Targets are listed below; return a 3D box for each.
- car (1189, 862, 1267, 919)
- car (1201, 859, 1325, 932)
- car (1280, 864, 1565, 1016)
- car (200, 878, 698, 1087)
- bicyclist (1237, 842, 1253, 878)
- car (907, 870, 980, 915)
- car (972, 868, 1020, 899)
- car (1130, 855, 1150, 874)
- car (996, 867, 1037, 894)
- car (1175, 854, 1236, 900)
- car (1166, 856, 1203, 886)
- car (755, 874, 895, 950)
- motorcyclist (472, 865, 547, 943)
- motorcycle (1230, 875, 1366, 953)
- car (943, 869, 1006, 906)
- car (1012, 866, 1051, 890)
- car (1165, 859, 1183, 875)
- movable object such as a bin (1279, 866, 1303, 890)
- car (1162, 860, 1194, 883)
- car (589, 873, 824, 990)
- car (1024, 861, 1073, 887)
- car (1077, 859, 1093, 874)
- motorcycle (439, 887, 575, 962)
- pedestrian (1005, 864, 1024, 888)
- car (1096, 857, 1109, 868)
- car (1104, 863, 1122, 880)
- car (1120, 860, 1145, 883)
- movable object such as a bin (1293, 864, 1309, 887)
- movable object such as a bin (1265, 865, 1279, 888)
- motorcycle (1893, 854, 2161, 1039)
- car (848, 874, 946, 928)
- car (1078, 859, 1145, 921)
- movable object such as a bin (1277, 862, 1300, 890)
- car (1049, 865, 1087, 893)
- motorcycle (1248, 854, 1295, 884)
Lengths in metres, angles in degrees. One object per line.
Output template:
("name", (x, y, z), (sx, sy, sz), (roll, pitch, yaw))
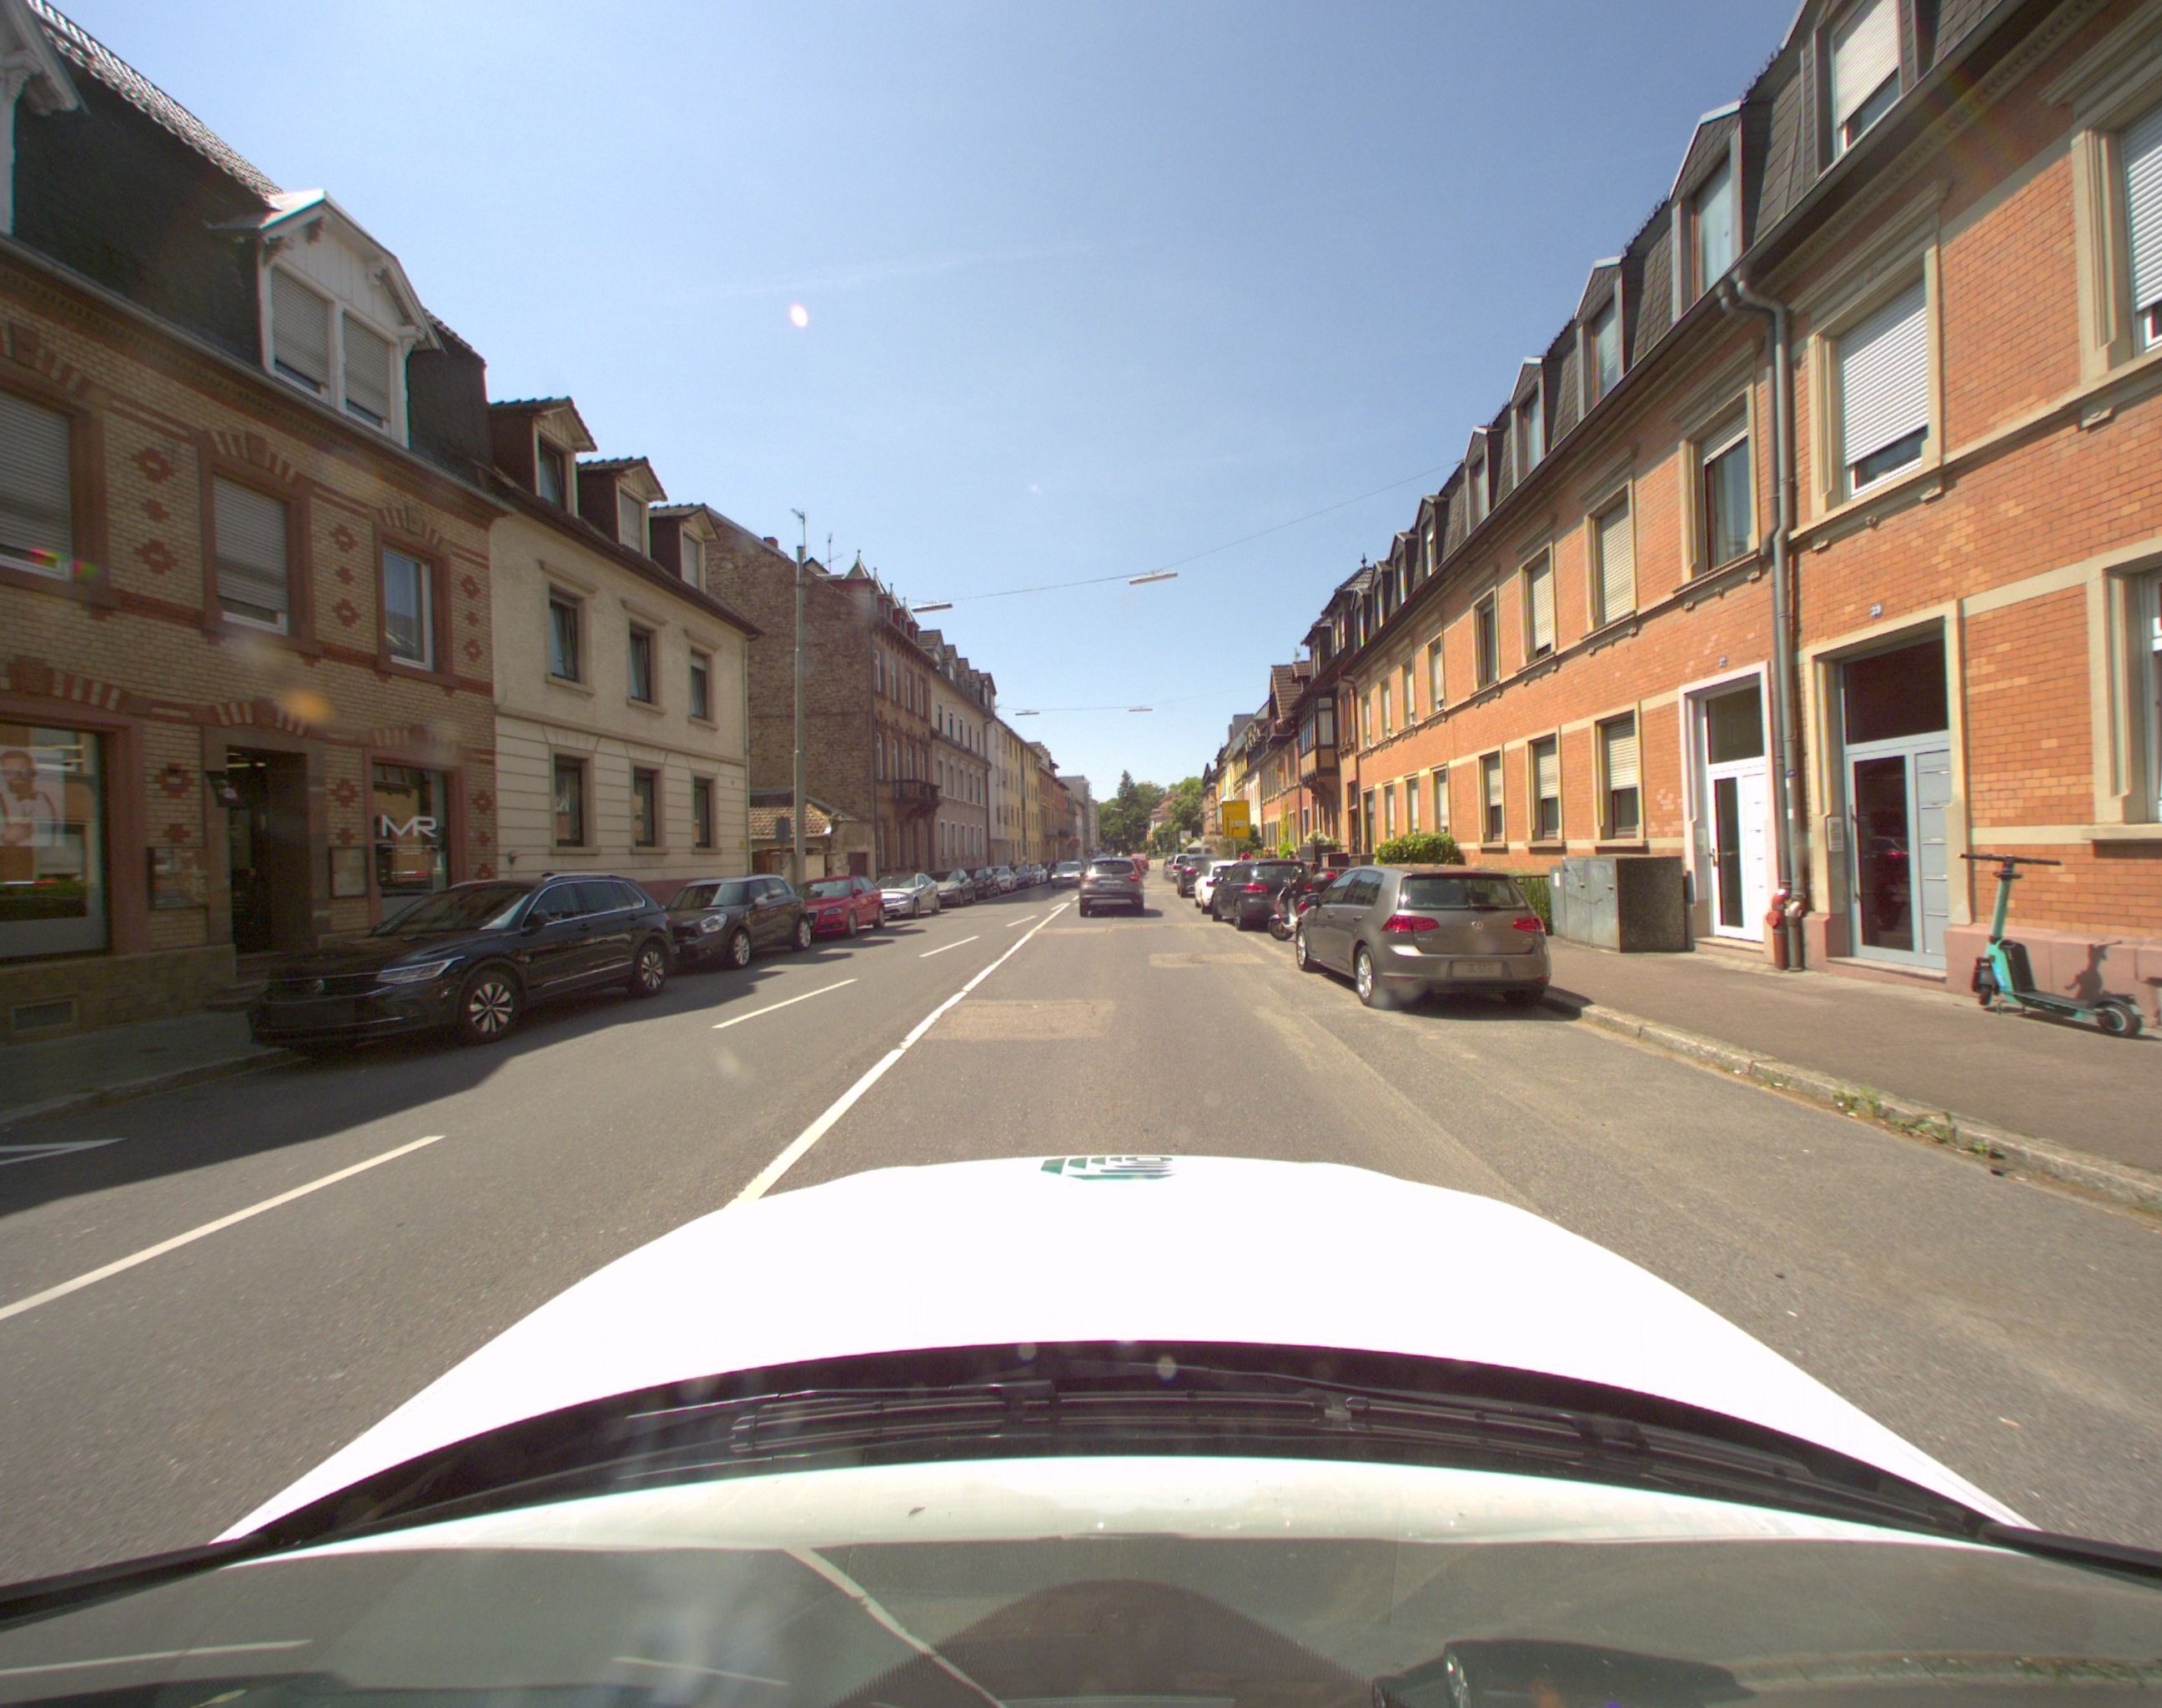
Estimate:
("car", (4.124, 0.977, 23.520), (1.708, 1.414, 4.594), (-2, -1, 4))
("car", (3.962, 0.860, 18.471), (1.644, 1.414, 4.498), (-1, -1, -2))
("car", (3.671, 0.828, 9.633), (1.694, 1.381, 4.167), (-1, -1, 1))
("car", (-6.418, 1.151, 9.139), (1.832, 1.597, 4.506), (-4, -1, 3))
("bicyclist", (6.845, 0.239, 33.959), (0.530, 1.469, 0.792), (-2, -1, 5))
("car", (-5.311, 1.456, 32.075), (1.833, 1.422, 4.504), (-6, -1, 2))
("car", (-4.439, 1.528, 43.179), (1.833, 1.422, 4.504), (-4, -1, 2))
("car", (6.579, 1.158, 90.145), (1.983, 2.013, 4.473), (-2, -1, 6))
("car", (-3.838, 1.540, 49.095), (1.833, 1.422, 4.648), (-4, -1, 2))
("car", (4.922, 0.874, 32.733), (1.985, 1.662, 4.630), (-2, -1, 4))
("car", (6.331, 1.001, 50.218), (1.853, 1.748, 4.619), (0, 0, 1))
("car", (-5.989, 1.301, 19.690), (1.834, 1.422, 4.502), (-4, -1, 0))
("motorcyclist", (-9.607, 0.829, 13.714), (0.715, 1.248, 0.712), (-2, -1, 2))
("motorcycle", (3.736, 0.995, 14.109), (1.971, 1.225, 1.119), (-2, -2, 42))
("car", (-4.879, 1.519, 37.934), (1.831, 1.422, 4.508), (-5, -1, 5))
("car", (-3.273, 1.596, 54.860), (1.831, 1.422, 4.564), (-5, -1, 5))
("car", (9.687, 1.339, 84.888), (1.851, 1.553, 4.006), (0, 0, 6))
("movable object such as a bin", (8.430, 0.966, 32.671), (0.785, 0.907, 0.539), (-2, -1, 1))
("car", (6.542, 1.184, 55.430), (1.853, 1.487, 4.312), (0, 0, 3))
("car", (-6.438, 1.244, 14.674), (1.832, 1.597, 4.506), (-5, -1, 3))
("car", (-2.400, 1.480, 61.186), (1.888, 1.638, 4.582), (-4, -1, 22))
("car", (0.498, 1.519, 99.897), (1.898, 1.620, 4.302), (-4, -1, 1))
("motorcycle", (-9.547, 1.140, 13.647), (0.841, 1.078, 1.873), (-2, -1, 4))
("pedestrian", (-4.882, 1.609, 60.095), (1.145, 1.750, 0.971), (-2, -1, 6))
("car", (3.686, 1.520, 139.896), (1.895, 1.821, 4.309), (-2, -1, 6))
("car", (3.735, 2.040, 96.131), (1.986, 1.792, 5.151), (-2, -1, 2))
("car", (3.915, 1.286, 62.342), (1.805, 1.620, 4.444), (-3, -1, 3))
("movable object such as a bin", (10.445, 1.030, 38.718), (0.606, 1.077, 0.762), (-2, -1, 5))
("movable object such as a bin", (9.090, 1.078, 38.809), (0.554, 1.076, 0.728), (-2, -1, 5))
("motorcycle", (7.123, 0.632, 6.161), (0.593, 1.225, 1.362), (-2, -1, 3))
("car", (-5.793, 1.448, 26.220), (1.832, 1.422, 4.506), (-4, -1, 3))
("car", (0.934, 0.964, 23.228), (1.736, 1.616, 4.004), (0, -1, 4))
("movable object such as a bin", (8.470, 0.890, 33.295), (0.785, 1.088, 0.539), (-2, -1, 1))
("car", (-0.707, 1.363, 46.087), (1.783, 1.420, 4.318), (-2, -1, 3))
("motorcycle", (9.604, 0.761, 41.145), (2.120, 1.408, 0.938), (-3, -1, 3))
